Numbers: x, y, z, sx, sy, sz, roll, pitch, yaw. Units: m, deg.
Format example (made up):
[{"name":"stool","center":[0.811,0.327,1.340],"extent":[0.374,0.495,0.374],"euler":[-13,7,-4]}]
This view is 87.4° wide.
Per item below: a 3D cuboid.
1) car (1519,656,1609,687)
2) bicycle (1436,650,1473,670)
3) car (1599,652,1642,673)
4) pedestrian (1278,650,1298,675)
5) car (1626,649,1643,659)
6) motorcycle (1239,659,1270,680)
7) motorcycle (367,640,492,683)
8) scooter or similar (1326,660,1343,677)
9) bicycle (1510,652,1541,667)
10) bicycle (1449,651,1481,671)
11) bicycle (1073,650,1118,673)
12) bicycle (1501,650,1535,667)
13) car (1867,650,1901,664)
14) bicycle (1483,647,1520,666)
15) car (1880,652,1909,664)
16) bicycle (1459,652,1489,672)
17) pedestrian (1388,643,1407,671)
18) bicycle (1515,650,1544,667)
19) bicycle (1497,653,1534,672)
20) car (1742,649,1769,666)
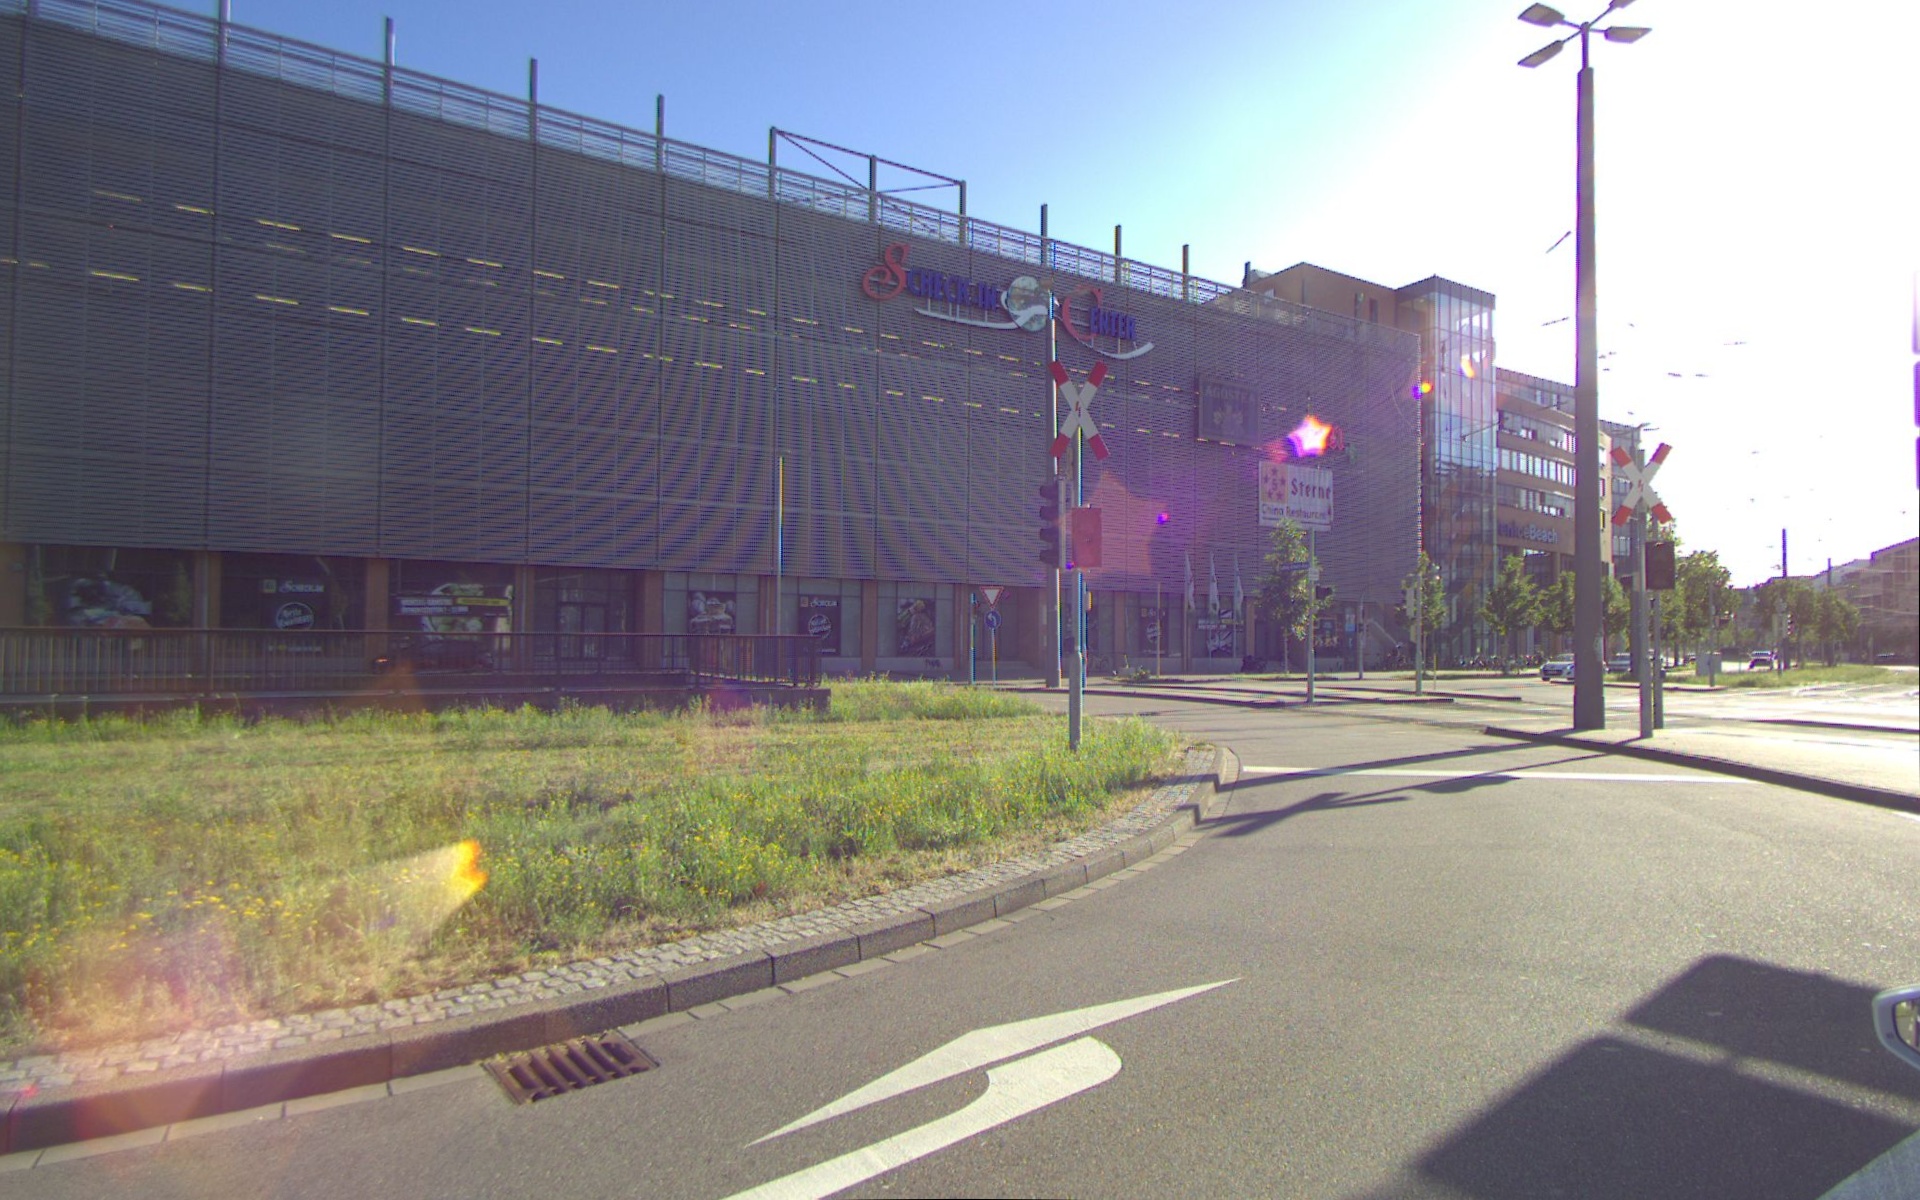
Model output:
[{"name":"car","center":[31.886,3.744,53.046],"extent":[4.470,1.566,1.987],"euler":[2,-2,-26]},{"name":"bicycle","center":[36.790,4.462,74.773],"extent":[1.060,1.452,2.367],"euler":[2,-4,-21]},{"name":"car","center":[46.843,4.420,71.242],"extent":[1.874,1.425,3.977],"euler":[-3,-4,43]},{"name":"pedestrian","center":[21.388,4.056,65.466],"extent":[0.819,1.586,0.983],"euler":[3,-4,-30]},{"name":"car","center":[133.744,10.719,199.114],"extent":[1.961,2.040,4.000],"euler":[-1,-3,21]},{"name":"motorcycle","center":[17.652,4.173,60.170],"extent":[1.872,1.254,0.672],"euler":[3,-4,-31]},{"name":"motorcycle","center":[-19.506,2.236,36.966],"extent":[3.953,1.472,1.984],"euler":[2,-3,-30]},{"name":"scooter or similar","center":[24.587,4.507,65.881],"extent":[1.138,1.124,0.419],"euler":[3,-4,-30]},{"name":"bicycle","center":[48.572,5.143,86.282],"extent":[0.734,1.252,2.411],"euler":[2,-4,-21]},{"name":"bicycle","center":[37.781,4.568,75.166],"extent":[0.848,1.452,2.080],"euler":[2,-4,-21]},{"name":"bicycle","center":[7.240,3.282,53.614],"extent":[2.384,1.236,0.797],"euler":[2,-2,-27]},{"name":"bicycle","center":[47.439,4.980,85.425],"extent":[0.760,1.452,2.604],"euler":[2,-4,-21]},{"name":"car","center":[125.836,7.768,136.783],"extent":[3.943,1.728,1.990],"euler":[2,-4,-23]},{"name":"bicycle","center":[41.767,4.379,77.505],"extent":[0.891,1.452,2.558],"euler":[2,-4,-21]},{"name":"car","center":[140.763,8.722,151.371],"extent":[1.963,1.661,4.408],"euler":[0,-3,26]},{"name":"bicycle","center":[38.744,4.641,75.686],"extent":[0.795,1.452,1.975],"euler":[2,-3,-21]},{"name":"pedestrian","center":[29.923,3.886,68.694],"extent":[0.894,1.848,0.823],"euler":[3,-4,-29]},{"name":"bicycle","center":[49.226,5.048,86.843],"extent":[0.707,1.452,2.242],"euler":[2,-4,-21]},{"name":"bicycle","center":[43.686,4.923,79.056],"extent":[0.891,1.452,2.558],"euler":[2,-4,-21]},{"name":"car","center":[78.945,5.702,99.670],"extent":[1.970,1.661,4.393],"euler":[-1,-3,39]}]
